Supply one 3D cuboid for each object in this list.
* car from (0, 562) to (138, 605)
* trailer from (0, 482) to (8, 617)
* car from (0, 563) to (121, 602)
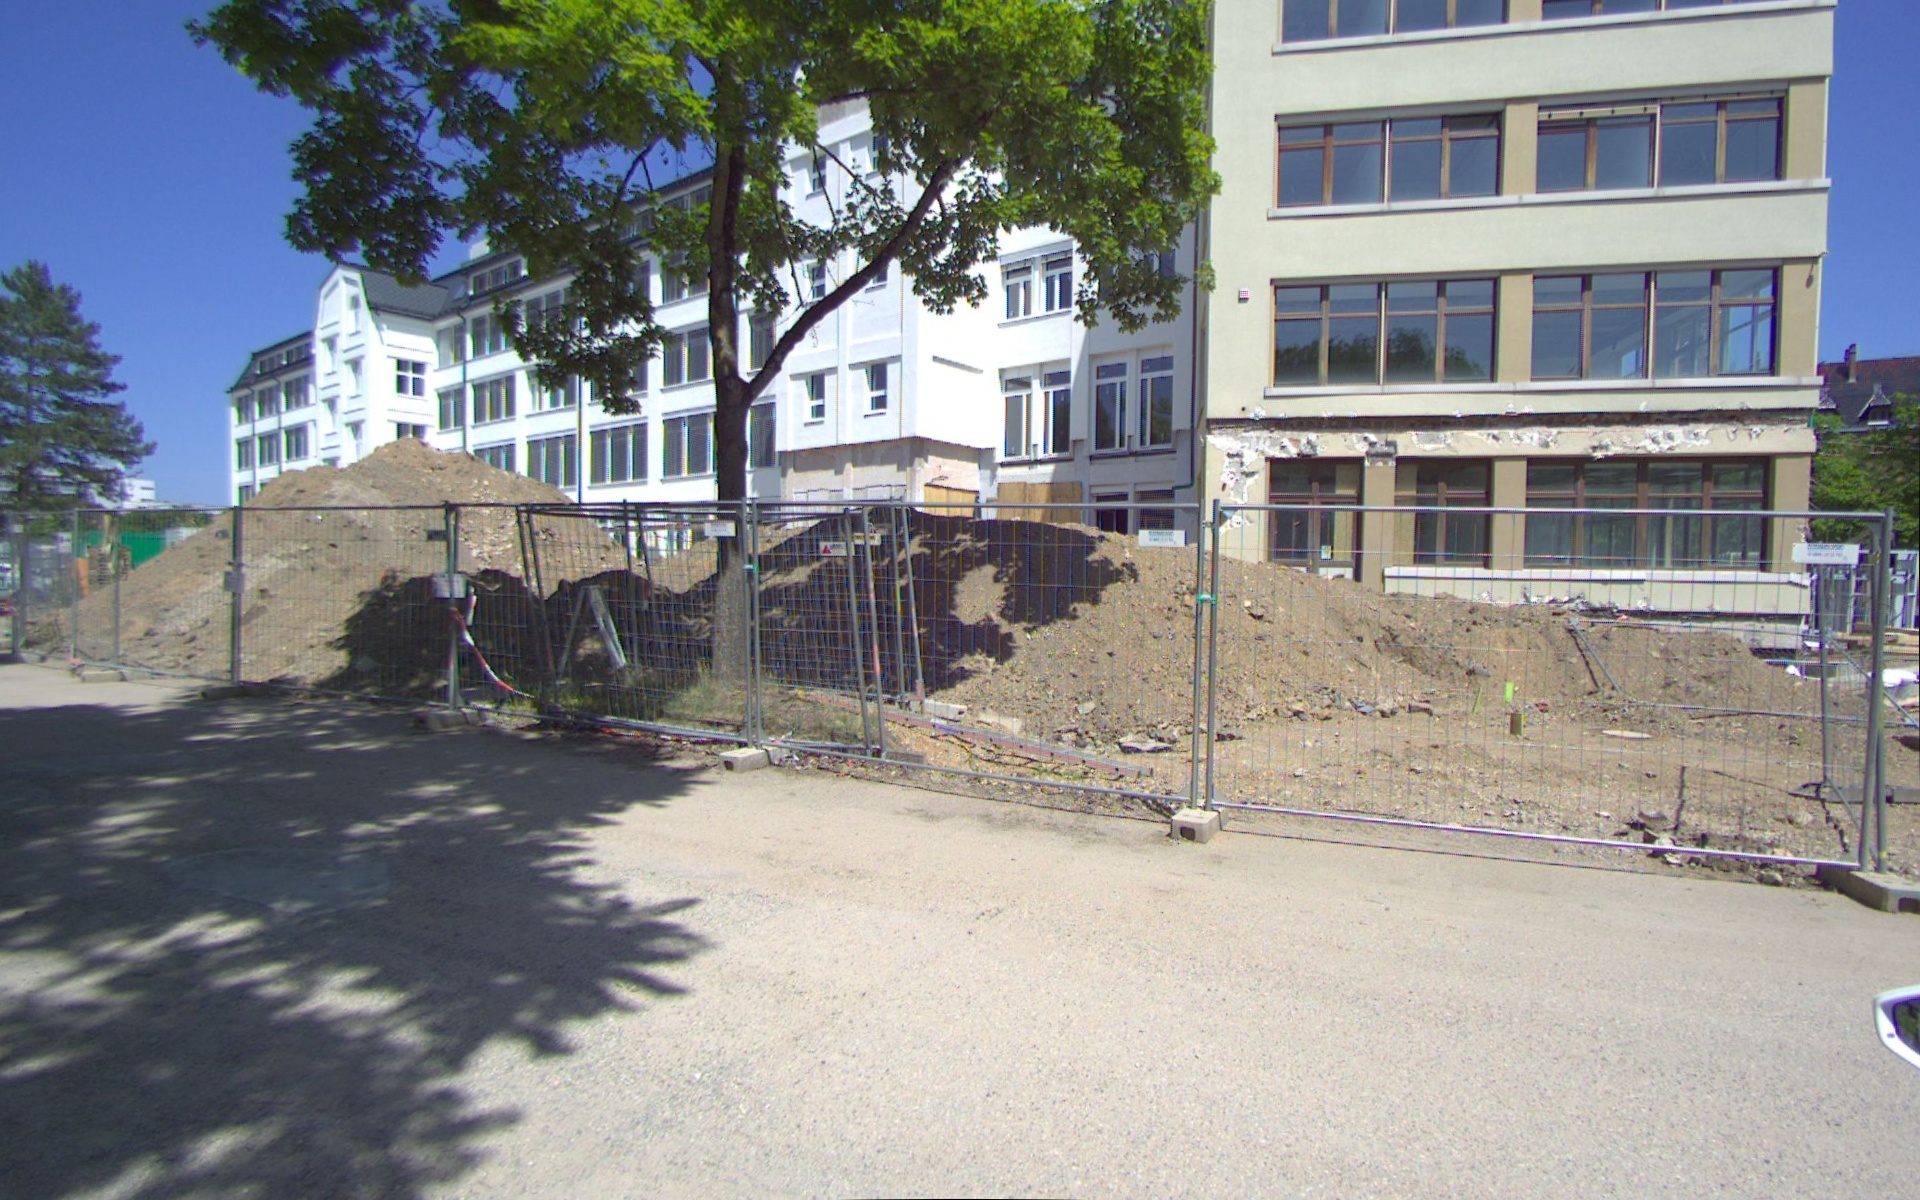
[{"bbox_3d":[-31.417,-0.553,35.227,1.714,1.428,3.772,2,1,40],"label":"car"},{"bbox_3d":[-28.673,-1.422,27.975,3.021,3.467,8.658,1,1,-43],"label":"trailer"},{"bbox_3d":[-34.992,-0.652,38.769,1.714,1.428,3.772,2,1,40],"label":"car"}]
